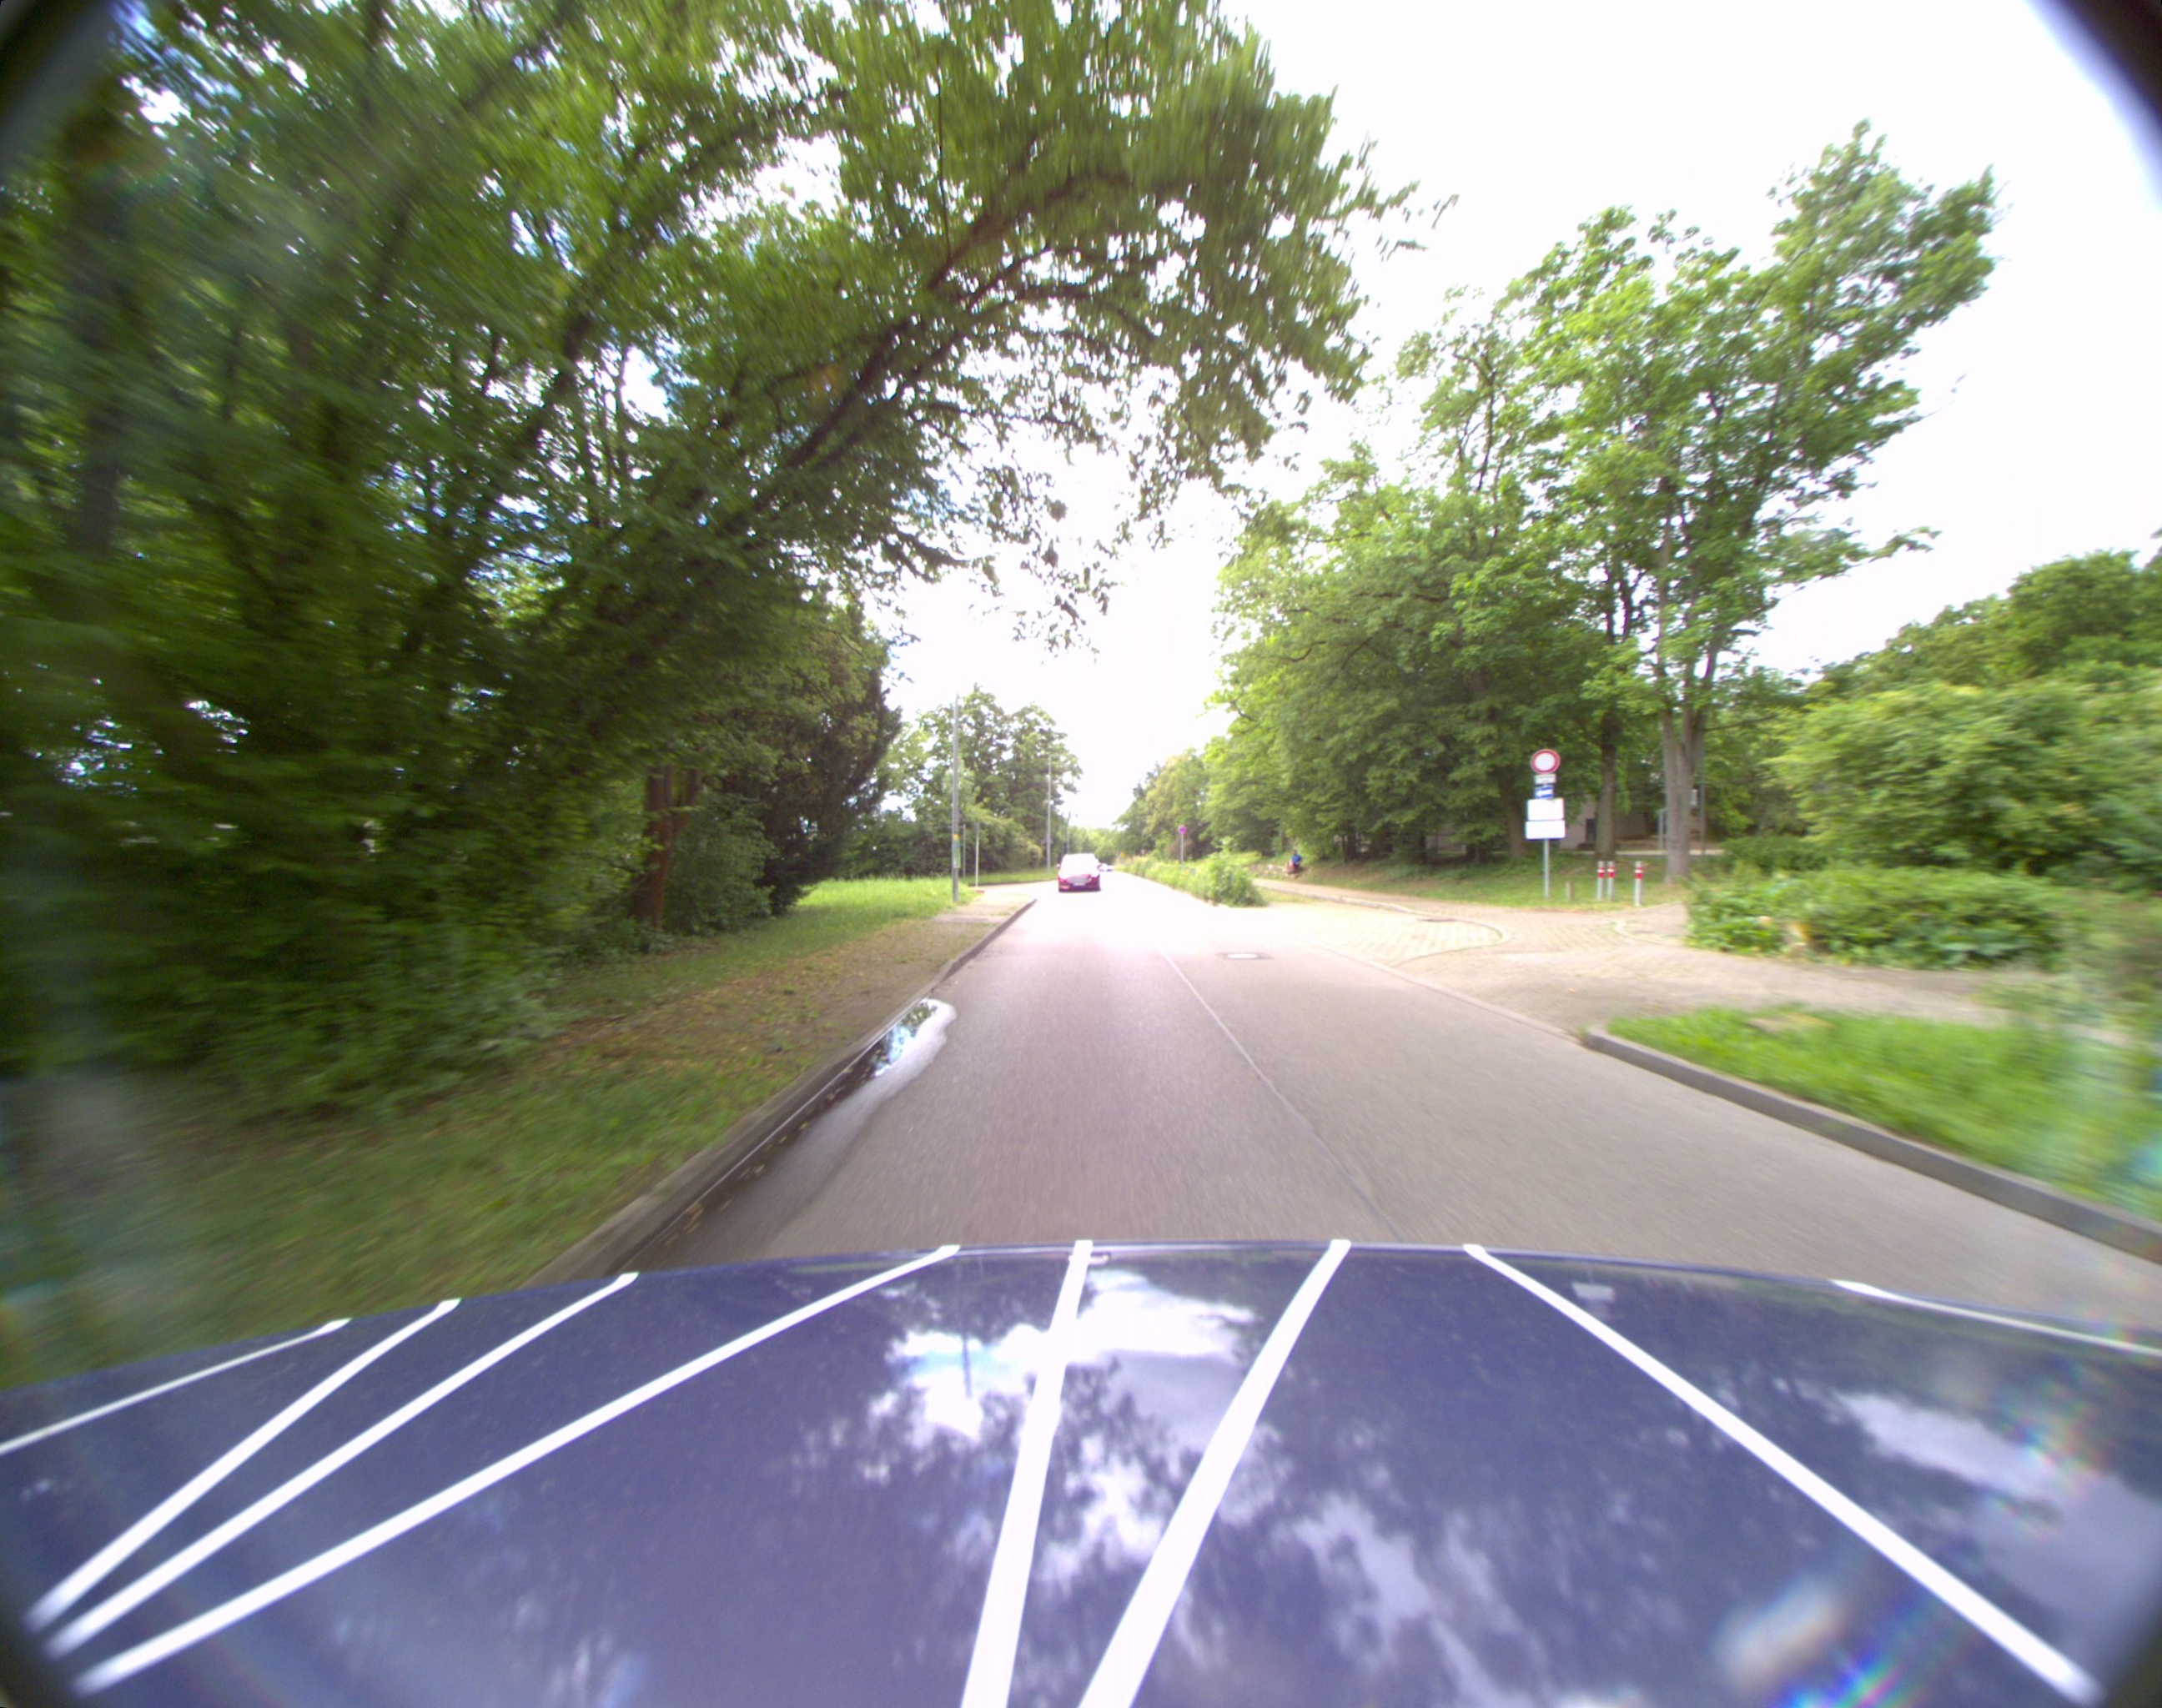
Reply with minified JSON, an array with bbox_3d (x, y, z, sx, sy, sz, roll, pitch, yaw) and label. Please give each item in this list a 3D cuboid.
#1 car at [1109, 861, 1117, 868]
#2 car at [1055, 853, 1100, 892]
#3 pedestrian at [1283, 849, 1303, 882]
[{"bbox_3d":[6.365,2.082,150.894,1.620,1.324,4.000,0,0,1],"label":"car"},{"bbox_3d":[-0.093,0.815,34.860,1.861,1.608,4.476,-2,0,1],"label":"car"},{"bbox_3d":[10.716,0.565,38.445,0.762,1.653,0.809,0,0,-2],"label":"pedestrian"}]
